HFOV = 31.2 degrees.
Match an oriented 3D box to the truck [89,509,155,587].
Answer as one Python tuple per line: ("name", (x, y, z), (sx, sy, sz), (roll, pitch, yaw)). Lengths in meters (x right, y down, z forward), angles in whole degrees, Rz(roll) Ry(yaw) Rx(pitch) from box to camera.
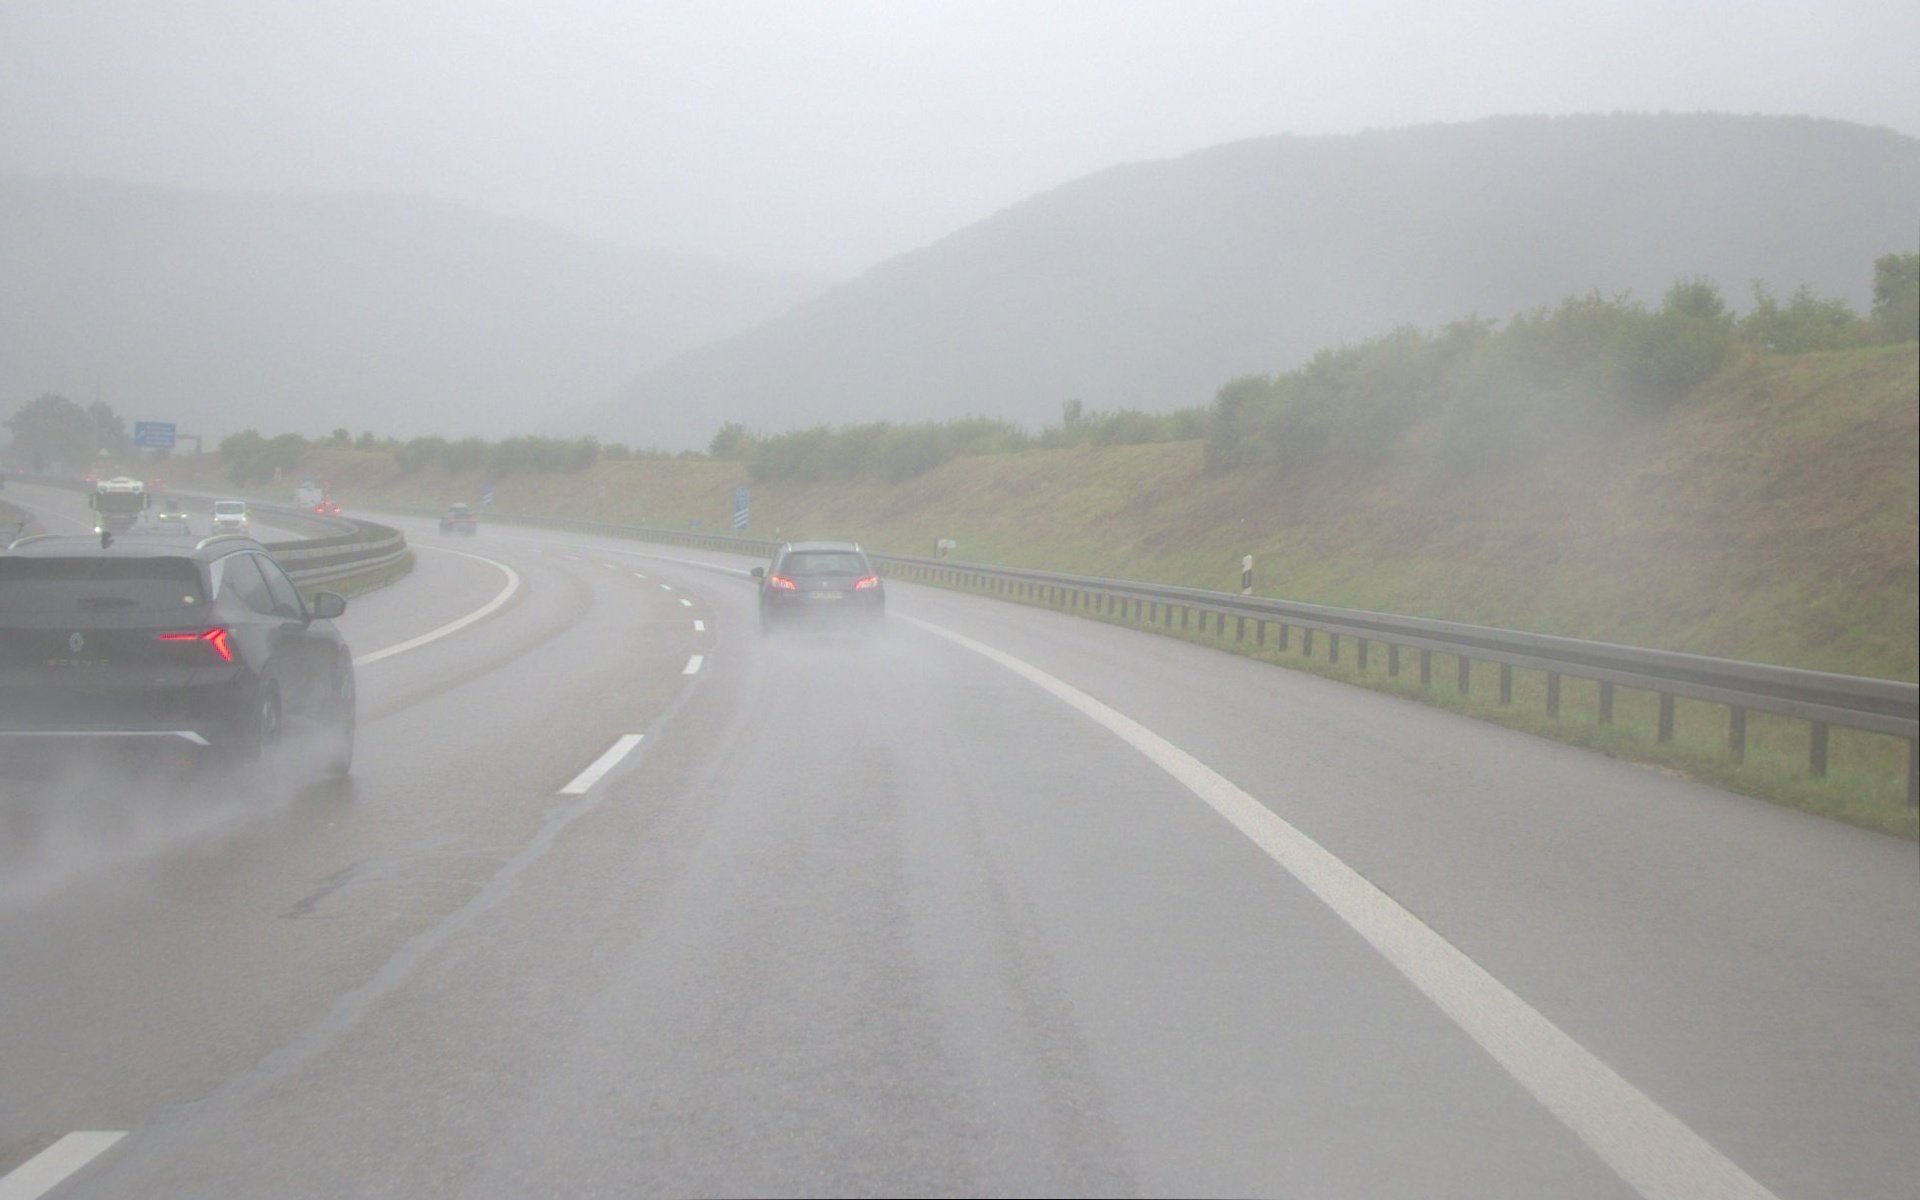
("truck", (-41.512, -2.585, 170.425), (2.883, 3.789, 5.317), (0, 1, -10))

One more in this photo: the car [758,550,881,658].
("car", (-2.026, 0.039, 50.316), (1.679, 1.467, 3.815), (2, 1, -1))

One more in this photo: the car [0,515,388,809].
("car", (-4.813, 0.292, 20.584), (2.405, 1.510, 4.785), (2, 1, -6))
